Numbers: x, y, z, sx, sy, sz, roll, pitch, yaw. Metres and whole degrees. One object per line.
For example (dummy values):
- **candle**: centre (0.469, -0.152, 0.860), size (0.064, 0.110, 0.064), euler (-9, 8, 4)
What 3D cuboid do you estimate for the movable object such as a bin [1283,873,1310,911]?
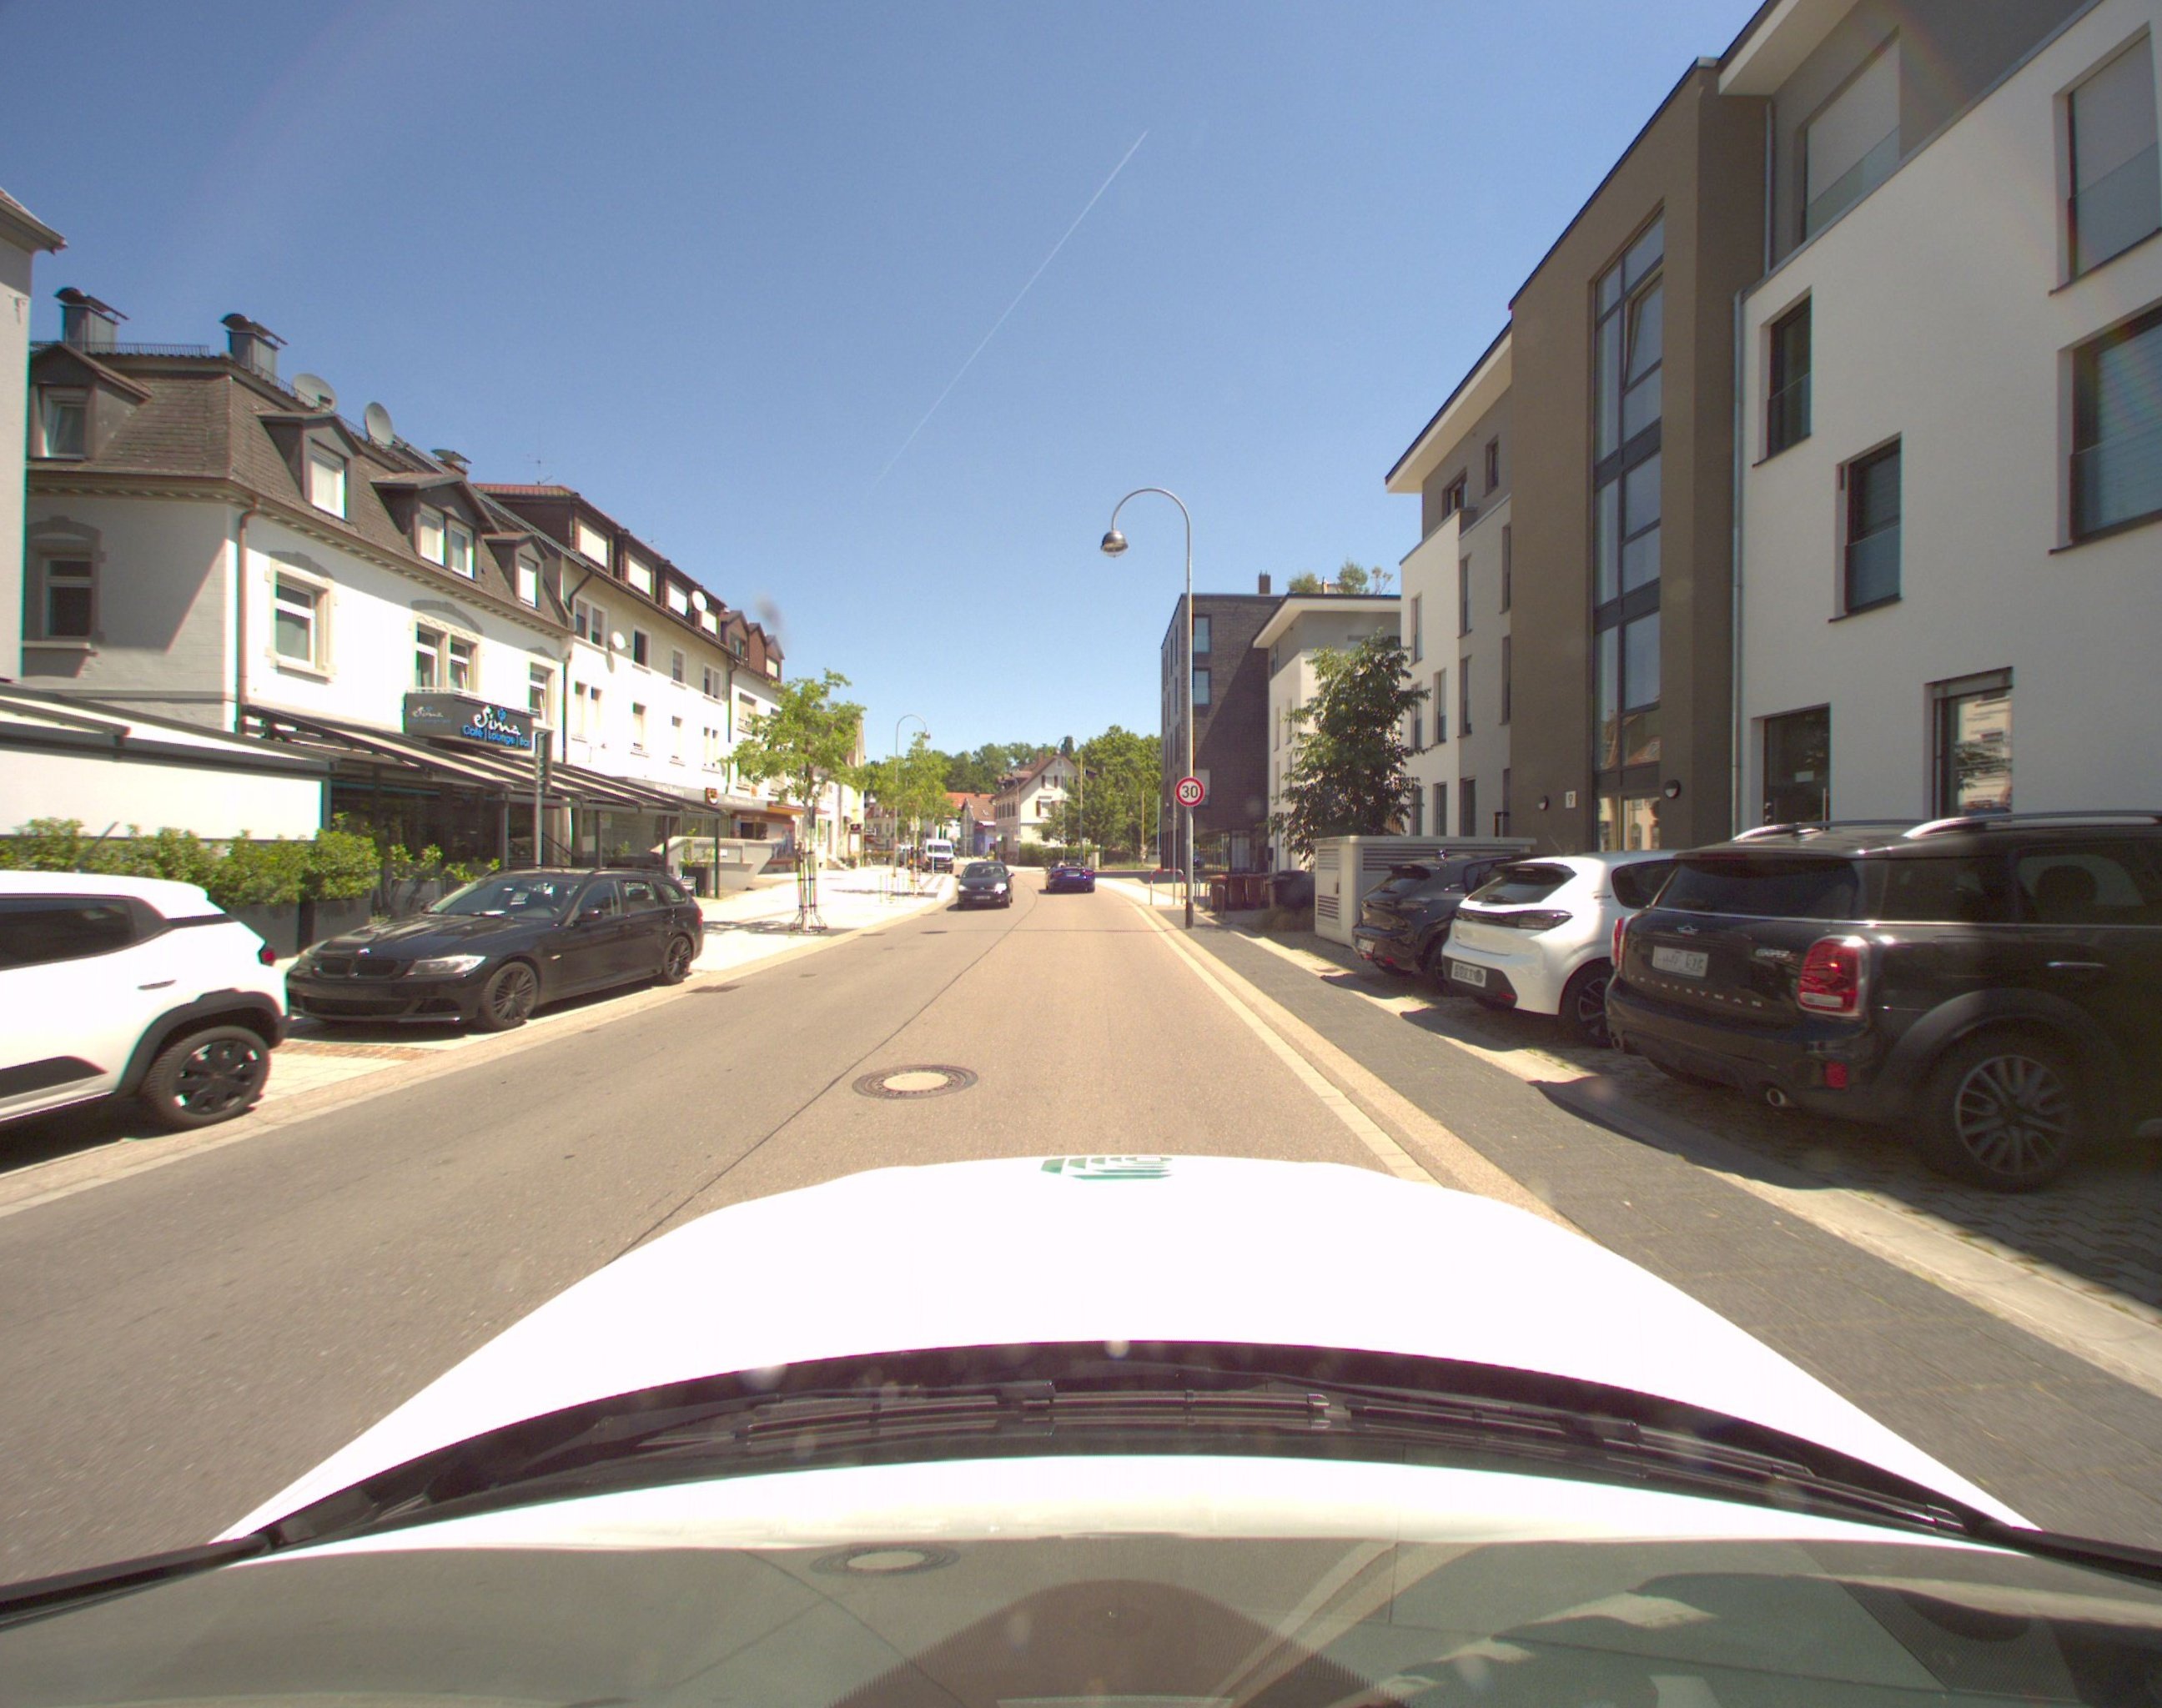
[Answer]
- **movable object such as a bin**: centre (5.434, 0.946, 20.558), size (0.483, 0.924, 0.434), euler (-2, 0, -23)

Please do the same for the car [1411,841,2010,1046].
- **car**: centre (5.056, 0.653, 6.926), size (3.798, 1.482, 1.777), euler (0, 0, -2)

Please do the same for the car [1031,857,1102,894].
- **car**: centre (-0.697, 0.866, 34.185), size (1.915, 1.360, 4.262), euler (-2, 1, -16)

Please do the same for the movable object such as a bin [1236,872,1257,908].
- **movable object such as a bin**: centre (4.524, 0.979, 22.268), size (0.471, 0.931, 0.528), euler (-1, 0, 0)

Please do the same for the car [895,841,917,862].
- **car**: centre (-21.323, -0.308, 99.142), size (2.161, 2.362, 5.219), euler (-1, 0, -16)

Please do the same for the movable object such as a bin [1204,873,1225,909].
- **movable object such as a bin**: centre (3.548, 0.981, 21.687), size (0.471, 0.931, 0.528), euler (-1, 0, 0)

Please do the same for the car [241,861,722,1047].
- **car**: centre (-5.941, 0.845, 8.951), size (1.747, 1.445, 4.453), euler (2, 0, 3)

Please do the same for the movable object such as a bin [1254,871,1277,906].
- **movable object such as a bin**: centre (5.047, 0.948, 22.279), size (0.471, 0.931, 0.528), euler (-1, 0, 0)

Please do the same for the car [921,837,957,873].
- **car**: centre (-10.542, 0.067, 60.263), size (2.096, 2.498, 5.475), euler (2, 0, -15)

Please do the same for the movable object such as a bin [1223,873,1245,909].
- **movable object such as a bin**: centre (4.065, 0.977, 21.686), size (0.465, 0.931, 0.528), euler (-1, 0, 0)

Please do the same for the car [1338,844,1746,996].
- **car**: centre (4.924, 0.682, 9.064), size (3.643, 1.445, 1.535), euler (-2, -1, 1)

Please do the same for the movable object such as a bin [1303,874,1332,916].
- **movable object such as a bin**: centre (5.440, 0.933, 18.767), size (0.483, 0.931, 0.466), euler (-2, 0, -6)

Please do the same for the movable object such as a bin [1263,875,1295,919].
- **movable object such as a bin**: centre (4.440, 0.959, 18.296), size (0.560, 0.931, 0.464), euler (-2, 0, -6)

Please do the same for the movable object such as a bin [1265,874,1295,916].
- **movable object such as a bin**: centre (4.615, 0.946, 18.892), size (0.511, 0.931, 0.464), euler (-2, 0, -6)

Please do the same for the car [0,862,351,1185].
- **car**: centre (-6.014, 0.817, 3.735), size (1.673, 1.484, 3.774), euler (2, 0, 5)

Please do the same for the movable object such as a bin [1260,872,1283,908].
- **movable object such as a bin**: centre (5.072, 0.945, 21.692), size (0.463, 0.931, 0.522), euler (-1, 0, 0)

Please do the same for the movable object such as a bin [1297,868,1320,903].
- **movable object such as a bin**: centre (6.213, 0.849, 22.239), size (0.471, 0.931, 0.528), euler (-1, 0, 0)

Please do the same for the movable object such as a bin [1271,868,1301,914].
- **movable object such as a bin**: centre (4.897, 0.872, 19.464), size (0.567, 1.060, 0.560), euler (-2, 0, 1)

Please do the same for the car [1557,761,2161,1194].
- **car**: centre (4.971, 0.503, 4.371), size (3.798, 1.786, 1.839), euler (0, 0, -2)

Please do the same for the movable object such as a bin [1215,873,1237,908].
- **movable object such as a bin**: centre (3.962, 0.983, 22.243), size (0.471, 0.931, 0.528), euler (-1, 0, 0)

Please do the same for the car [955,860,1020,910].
- **car**: centre (-2.962, 0.954, 26.533), size (1.611, 1.454, 3.864), euler (-1, 0, 0)

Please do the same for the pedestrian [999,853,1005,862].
- **pedestrian**: centre (-8.835, 0.364, 91.080), size (0.592, 0.999, 0.719), euler (-1, 0, -19)

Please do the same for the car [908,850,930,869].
- **car**: centre (-13.605, 0.432, 68.205), size (1.562, 1.520, 3.497), euler (0, 0, -15)

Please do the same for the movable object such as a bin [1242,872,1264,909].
- **movable object such as a bin**: centre (4.568, 0.965, 21.686), size (0.463, 0.931, 0.522), euler (-1, 0, 0)
